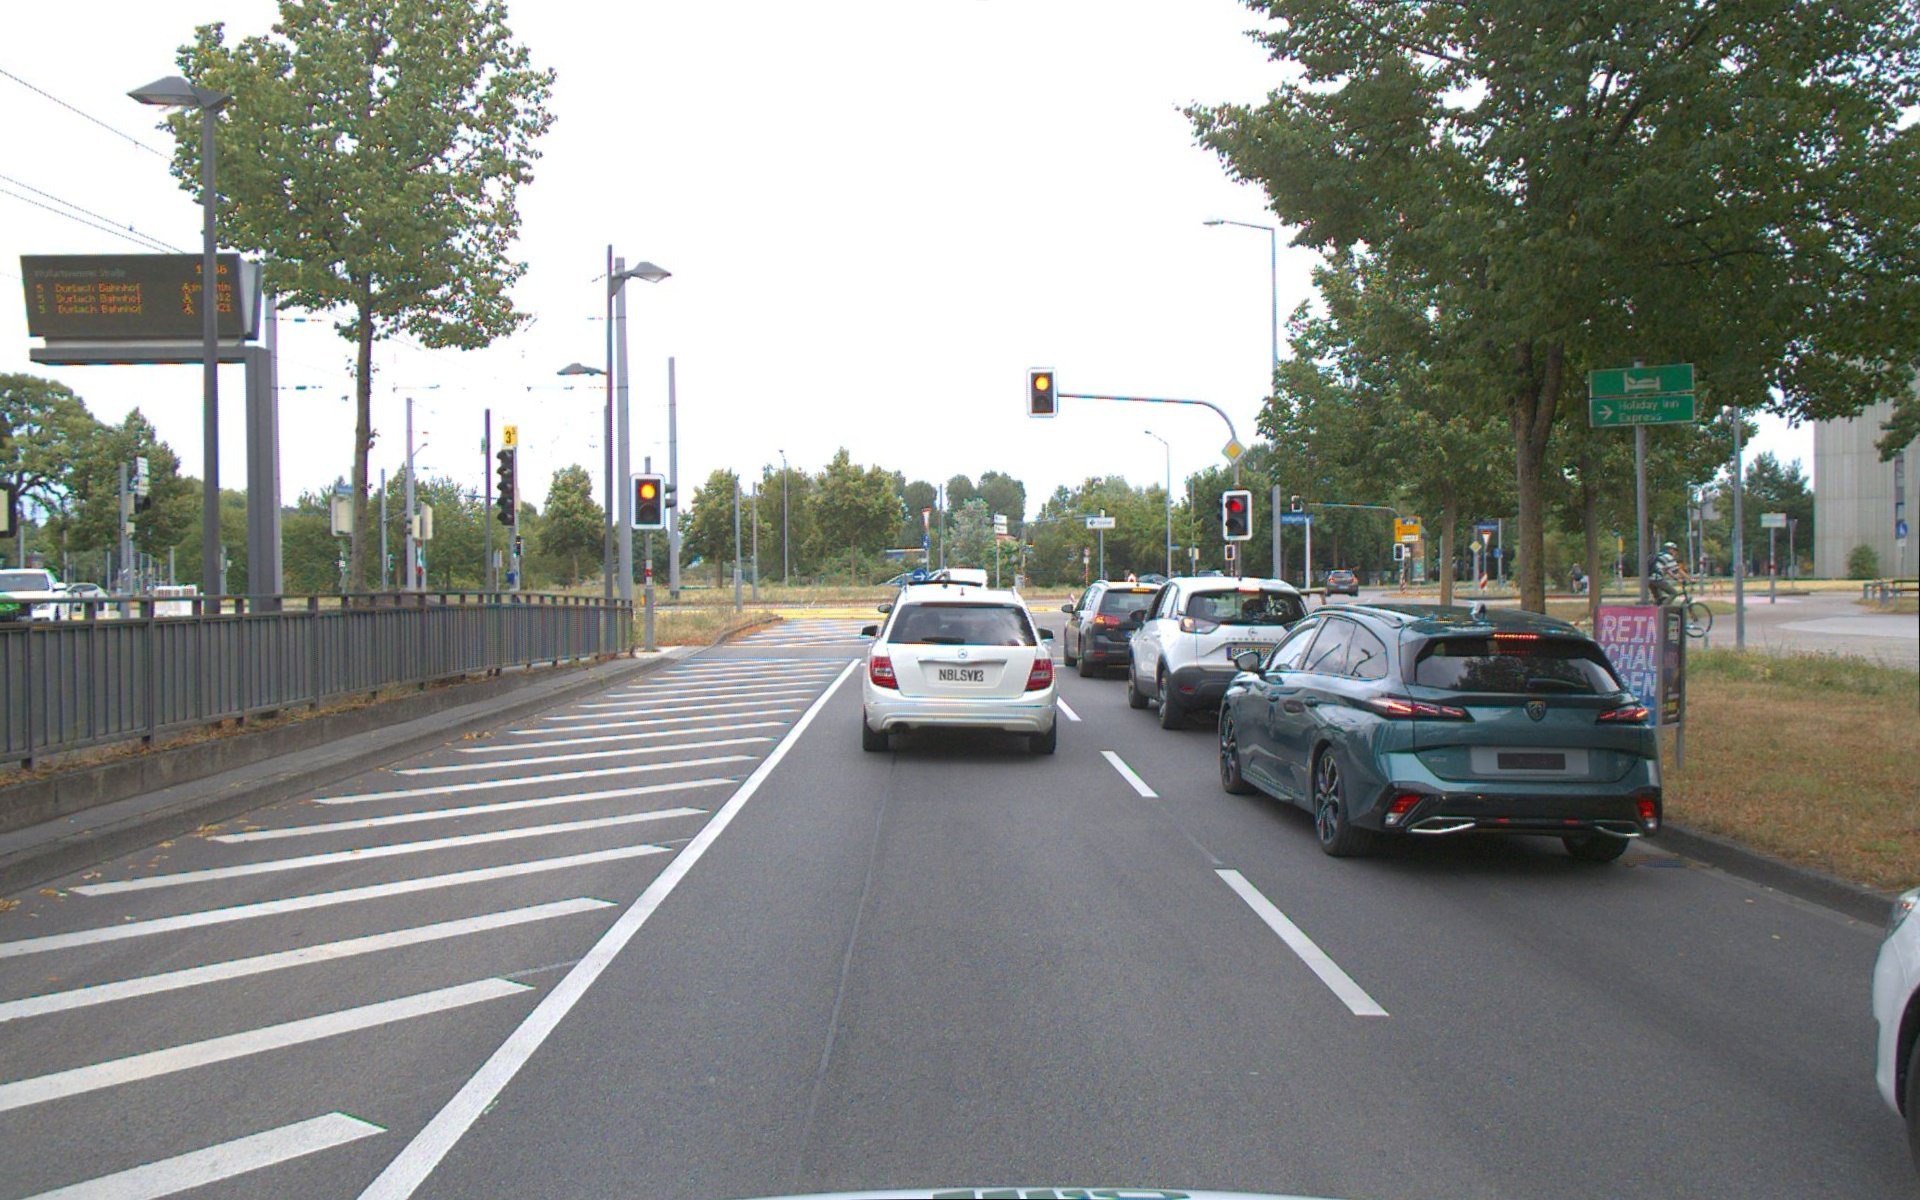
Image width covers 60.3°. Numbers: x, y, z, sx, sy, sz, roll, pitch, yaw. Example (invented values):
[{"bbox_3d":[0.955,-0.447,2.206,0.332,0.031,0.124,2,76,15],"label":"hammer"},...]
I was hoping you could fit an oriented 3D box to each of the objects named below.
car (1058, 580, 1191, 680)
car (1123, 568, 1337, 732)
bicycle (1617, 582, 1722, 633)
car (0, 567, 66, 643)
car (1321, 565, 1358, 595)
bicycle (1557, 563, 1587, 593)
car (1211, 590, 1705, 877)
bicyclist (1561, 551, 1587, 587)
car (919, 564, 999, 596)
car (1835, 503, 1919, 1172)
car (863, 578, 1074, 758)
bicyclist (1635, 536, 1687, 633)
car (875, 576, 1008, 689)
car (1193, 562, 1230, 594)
[{"bbox_3d":[2.592,0.426,26.799,1.592,1.473,3.909,1,1,-2],"label":"car"},{"bbox_3d":[2.941,0.481,18.769,1.751,1.653,3.910,-1,1,-1],"label":"car"},{"bbox_3d":[14.354,0.151,33.470,1.895,1.001,0.564,0,1,-2],"label":"bicycle"},{"bbox_3d":[-21.553,0.089,37.668,1.973,1.646,4.340,-1,1,-30],"label":"car"},{"bbox_3d":[21.800,-1.169,95.052,1.745,1.664,4.406,0,1,9],"label":"car"},{"bbox_3d":[31.617,-1.125,85.472,0.691,1.532,2.007,2,0,-2],"label":"bicycle"},{"bbox_3d":[2.931,0.679,10.778,1.751,1.457,4.309,0,1,-3],"label":"car"},{"bbox_3d":[31.640,-1.573,85.226,0.849,1.820,1.174,2,0,-2],"label":"bicyclist"},{"bbox_3d":[-0.079,-1.354,109.714,4.917,2.049,1.986,-1,1,-24],"label":"car"},{"bbox_3d":[3.301,0.613,2.551,1.742,1.685,4.023,-1,1,-1],"label":"car"},{"bbox_3d":[-0.006,0.540,15.707,1.738,1.473,3.909,1,1,-3],"label":"car"},{"bbox_3d":[14.158,-0.317,33.425,0.714,1.918,0.734,0,1,-3],"label":"bicyclist"},{"bbox_3d":[-0.322,0.407,23.776,1.738,1.473,3.909,1,1,-3],"label":"car"},{"bbox_3d":[15.211,-1.291,100.146,1.951,1.822,4.002,2,0,5],"label":"car"}]
